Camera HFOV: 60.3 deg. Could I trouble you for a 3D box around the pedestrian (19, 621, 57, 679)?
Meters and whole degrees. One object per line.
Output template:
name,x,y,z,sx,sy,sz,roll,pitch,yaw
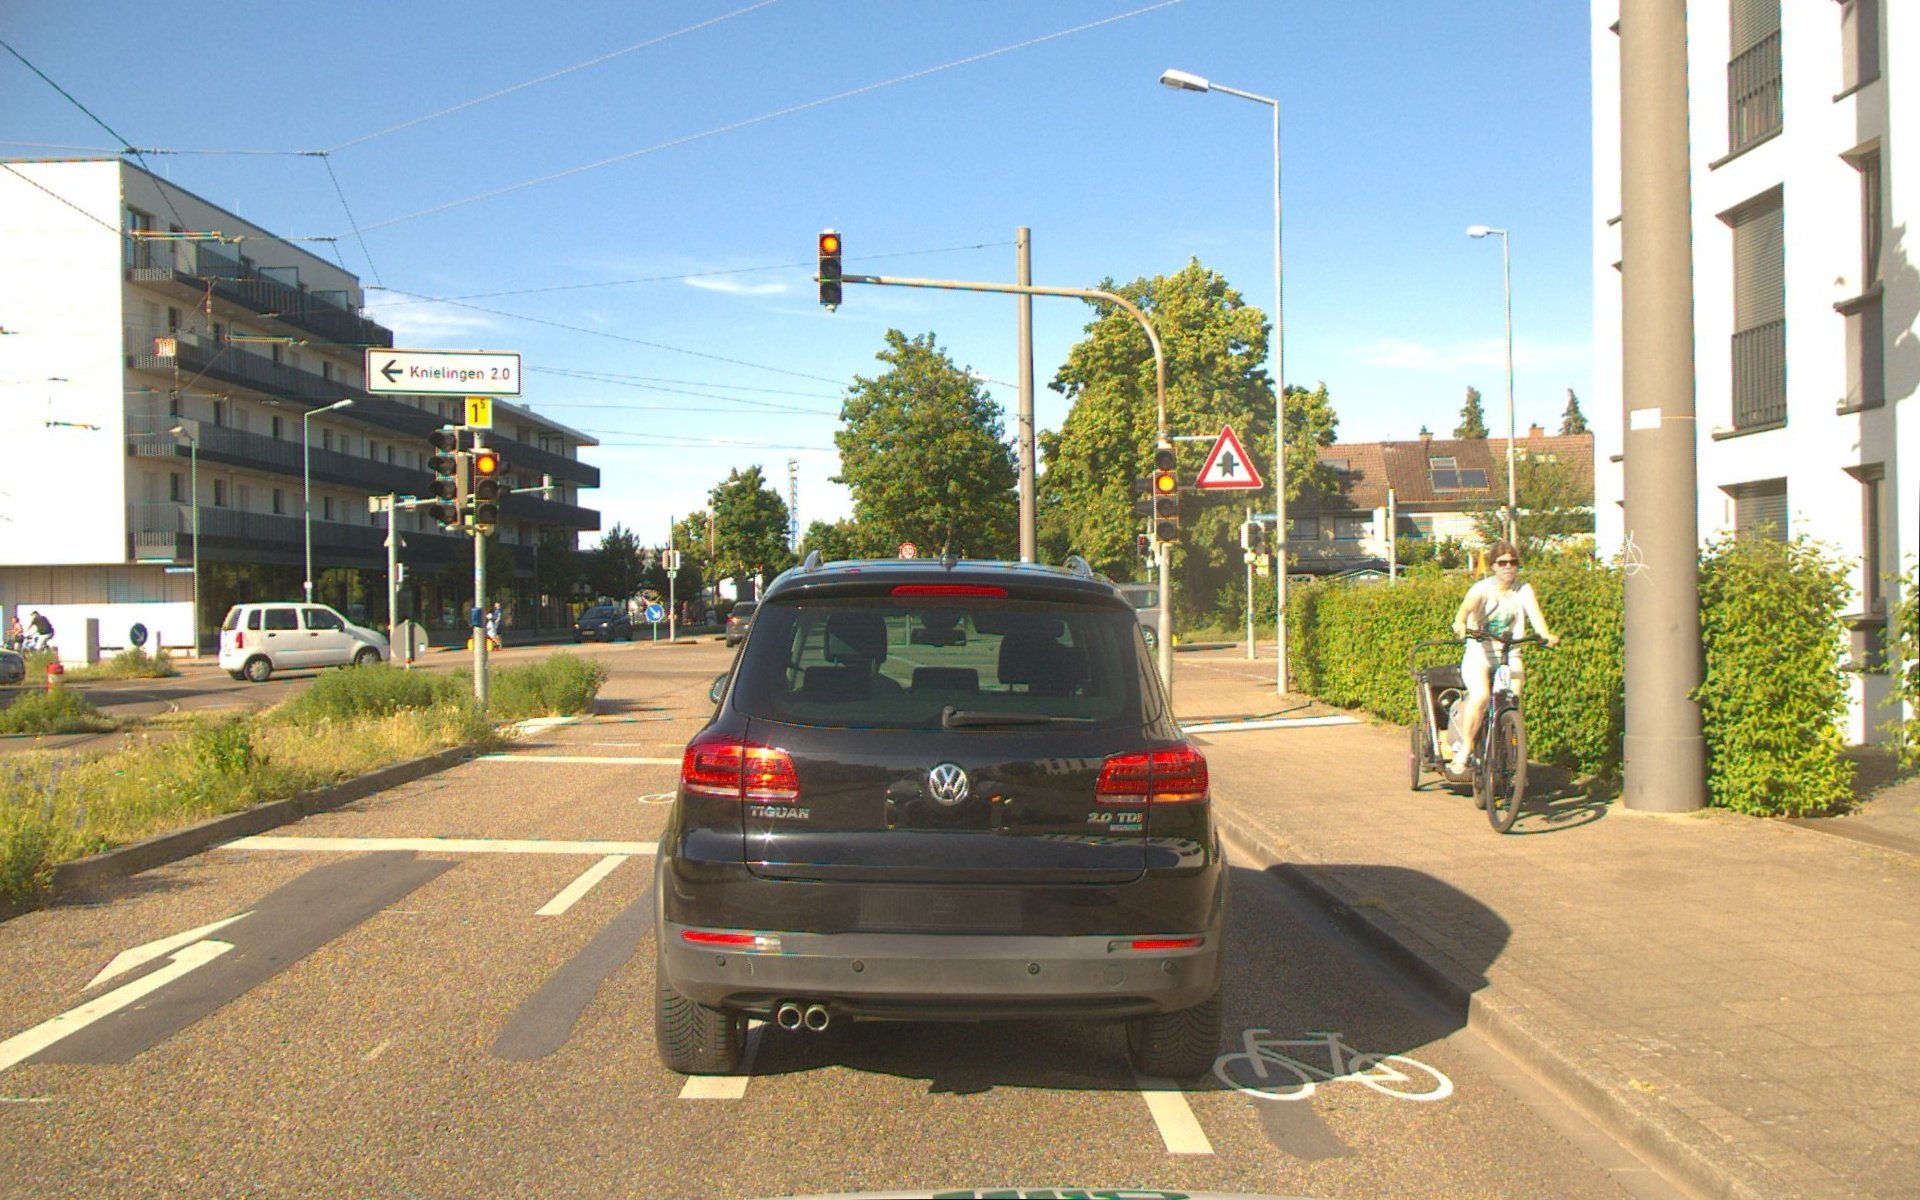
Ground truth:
pedestrian,-27.832,1.503,49.941,0.796,1.721,0.620,-1,0,-3

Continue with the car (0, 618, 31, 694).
car,-21.073,1.176,33.232,4.048,1.511,1.854,-1,0,-27

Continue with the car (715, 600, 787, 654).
car,-6.876,0.872,54.720,1.953,1.713,3.999,1,0,-2

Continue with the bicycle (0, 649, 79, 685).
bicycle,-27.982,2.027,49.939,2.361,1.020,0.640,-1,0,-3

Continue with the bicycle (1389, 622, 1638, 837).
bicycle,3.633,0.779,11.217,0.909,1.194,3.127,-1,0,6

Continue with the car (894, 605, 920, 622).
car,-5.343,1.373,167.359,1.951,1.601,4.342,1,0,7

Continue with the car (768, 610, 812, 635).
car,-11.023,1.448,107.479,1.951,1.601,4.342,1,0,7

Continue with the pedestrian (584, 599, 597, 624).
pedestrian,-22.899,0.698,102.526,0.629,1.535,0.596,1,-1,-1

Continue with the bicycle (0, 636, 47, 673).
bicycle,-30.248,1.728,52.855,1.834,1.144,0.814,1,-1,-29

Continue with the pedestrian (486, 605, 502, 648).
pedestrian,-16.536,0.943,58.644,0.433,1.529,0.517,1,-1,-6

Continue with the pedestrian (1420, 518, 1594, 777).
pedestrian,3.585,0.303,10.912,0.891,1.622,0.855,-1,0,6

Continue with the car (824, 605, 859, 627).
car,-9.271,1.252,129.822,1.951,1.601,4.342,1,0,7

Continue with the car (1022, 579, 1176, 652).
car,3.783,0.409,44.759,3.902,1.869,2.002,1,0,12

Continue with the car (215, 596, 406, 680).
car,-14.522,0.798,37.026,3.646,1.750,1.846,-1,0,-37

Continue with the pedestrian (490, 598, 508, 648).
pedestrian,-16.507,0.816,59.221,0.532,1.774,0.517,1,-1,-6

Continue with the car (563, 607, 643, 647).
car,-15.347,1.139,71.325,1.951,1.601,4.343,1,0,9

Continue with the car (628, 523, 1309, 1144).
car,0.000,0.647,6.508,1.831,1.666,3.999,1,0,-1

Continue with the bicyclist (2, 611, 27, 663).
bicyclist,-30.221,1.187,52.853,0.631,1.642,0.778,1,-1,-28
